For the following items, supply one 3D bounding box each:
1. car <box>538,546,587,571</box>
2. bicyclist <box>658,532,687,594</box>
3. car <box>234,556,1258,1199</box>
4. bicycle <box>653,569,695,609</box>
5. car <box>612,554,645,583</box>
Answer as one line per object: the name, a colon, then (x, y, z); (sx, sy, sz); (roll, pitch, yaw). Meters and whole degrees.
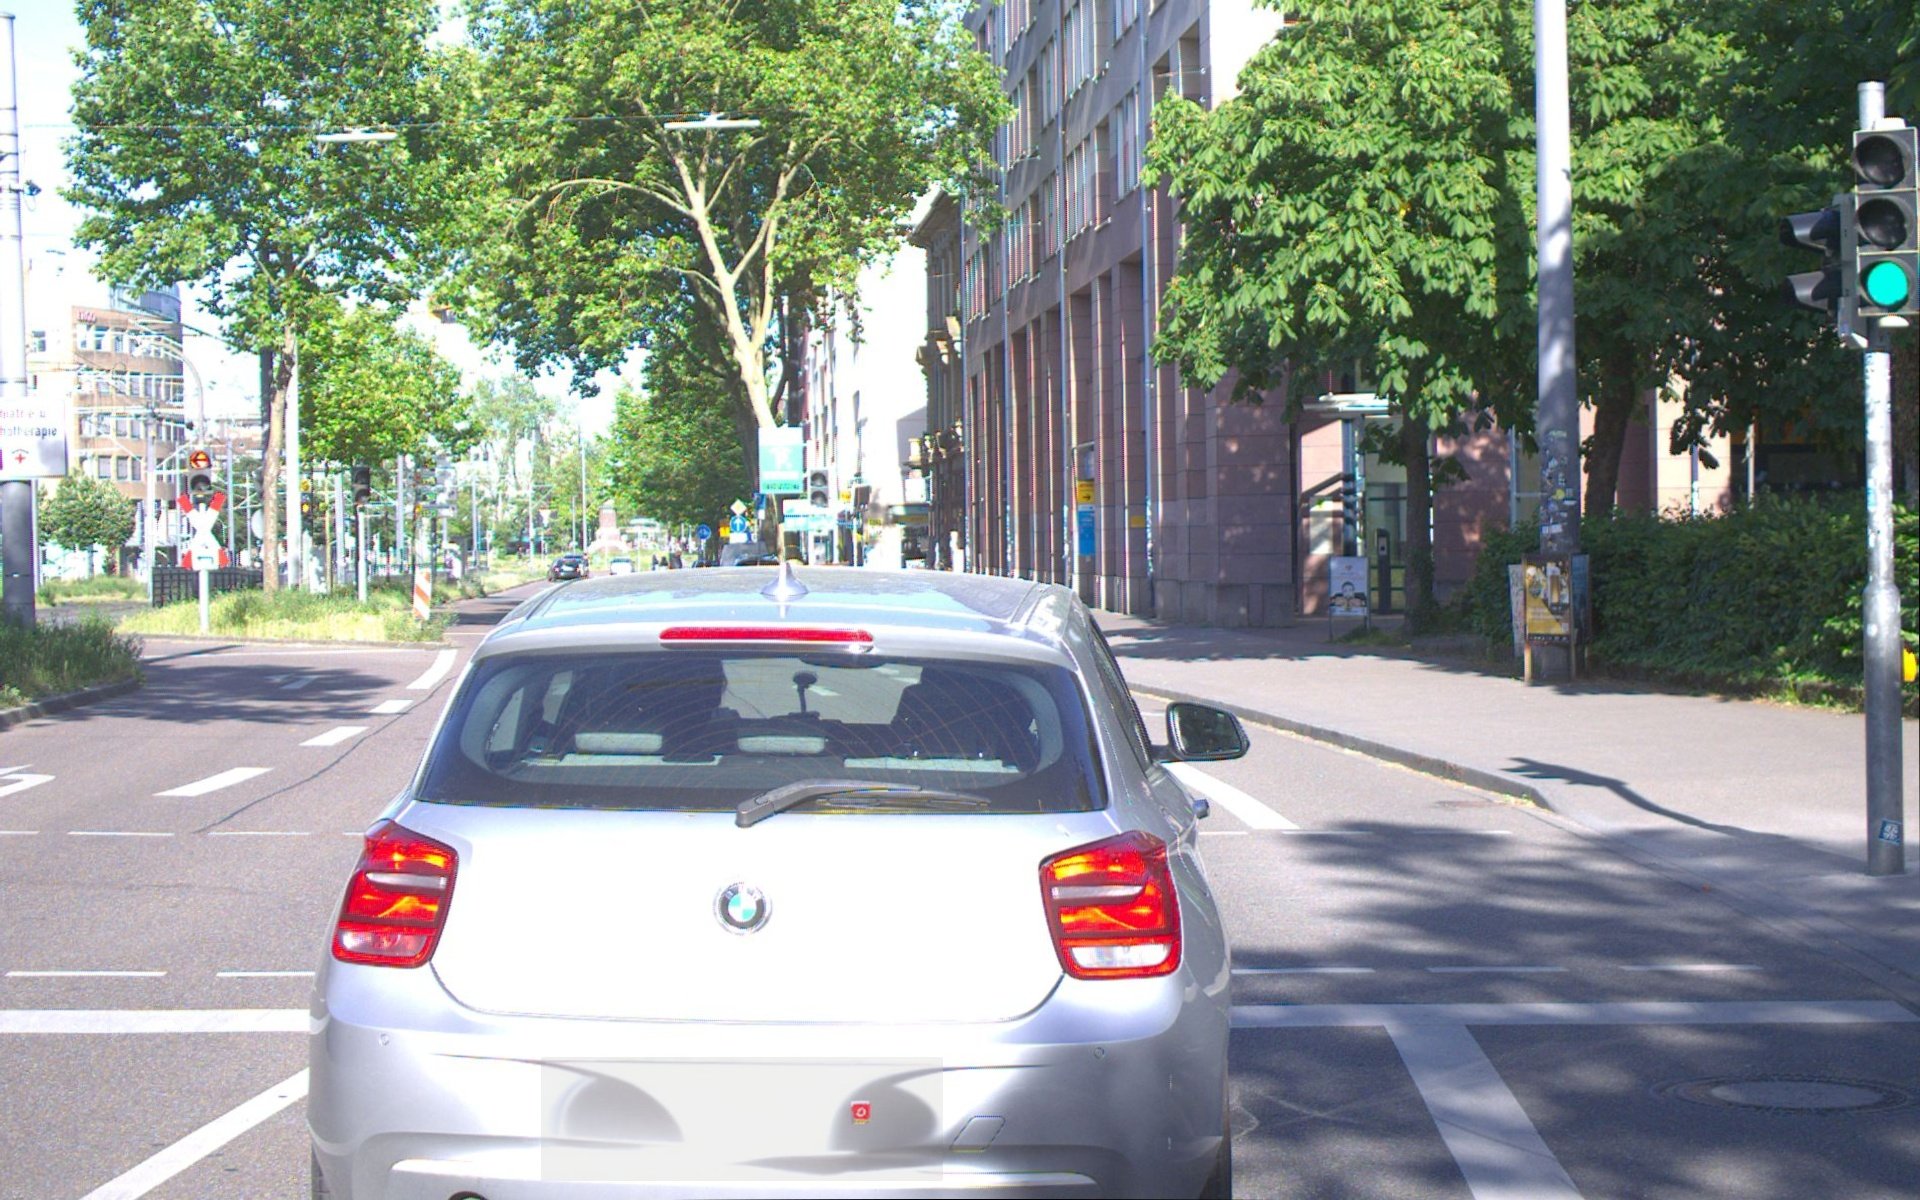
car: (-24.761, -2.591, 214.089); (1.993, 1.481, 4.001); (-1, 1, -23)
bicyclist: (-7.792, -1.002, 93.181); (0.658, 1.651, 0.765); (-1, 1, 4)
car: (-0.285, 0.638, 7.738); (1.730, 1.386, 3.840); (1, 2, 3)
bicycle: (-7.755, -0.301, 93.250); (0.831, 1.038, 1.874); (-1, 1, 5)
car: (-23.845, -2.234, 247.283); (1.993, 2.007, 4.000); (1, 0, 0)
